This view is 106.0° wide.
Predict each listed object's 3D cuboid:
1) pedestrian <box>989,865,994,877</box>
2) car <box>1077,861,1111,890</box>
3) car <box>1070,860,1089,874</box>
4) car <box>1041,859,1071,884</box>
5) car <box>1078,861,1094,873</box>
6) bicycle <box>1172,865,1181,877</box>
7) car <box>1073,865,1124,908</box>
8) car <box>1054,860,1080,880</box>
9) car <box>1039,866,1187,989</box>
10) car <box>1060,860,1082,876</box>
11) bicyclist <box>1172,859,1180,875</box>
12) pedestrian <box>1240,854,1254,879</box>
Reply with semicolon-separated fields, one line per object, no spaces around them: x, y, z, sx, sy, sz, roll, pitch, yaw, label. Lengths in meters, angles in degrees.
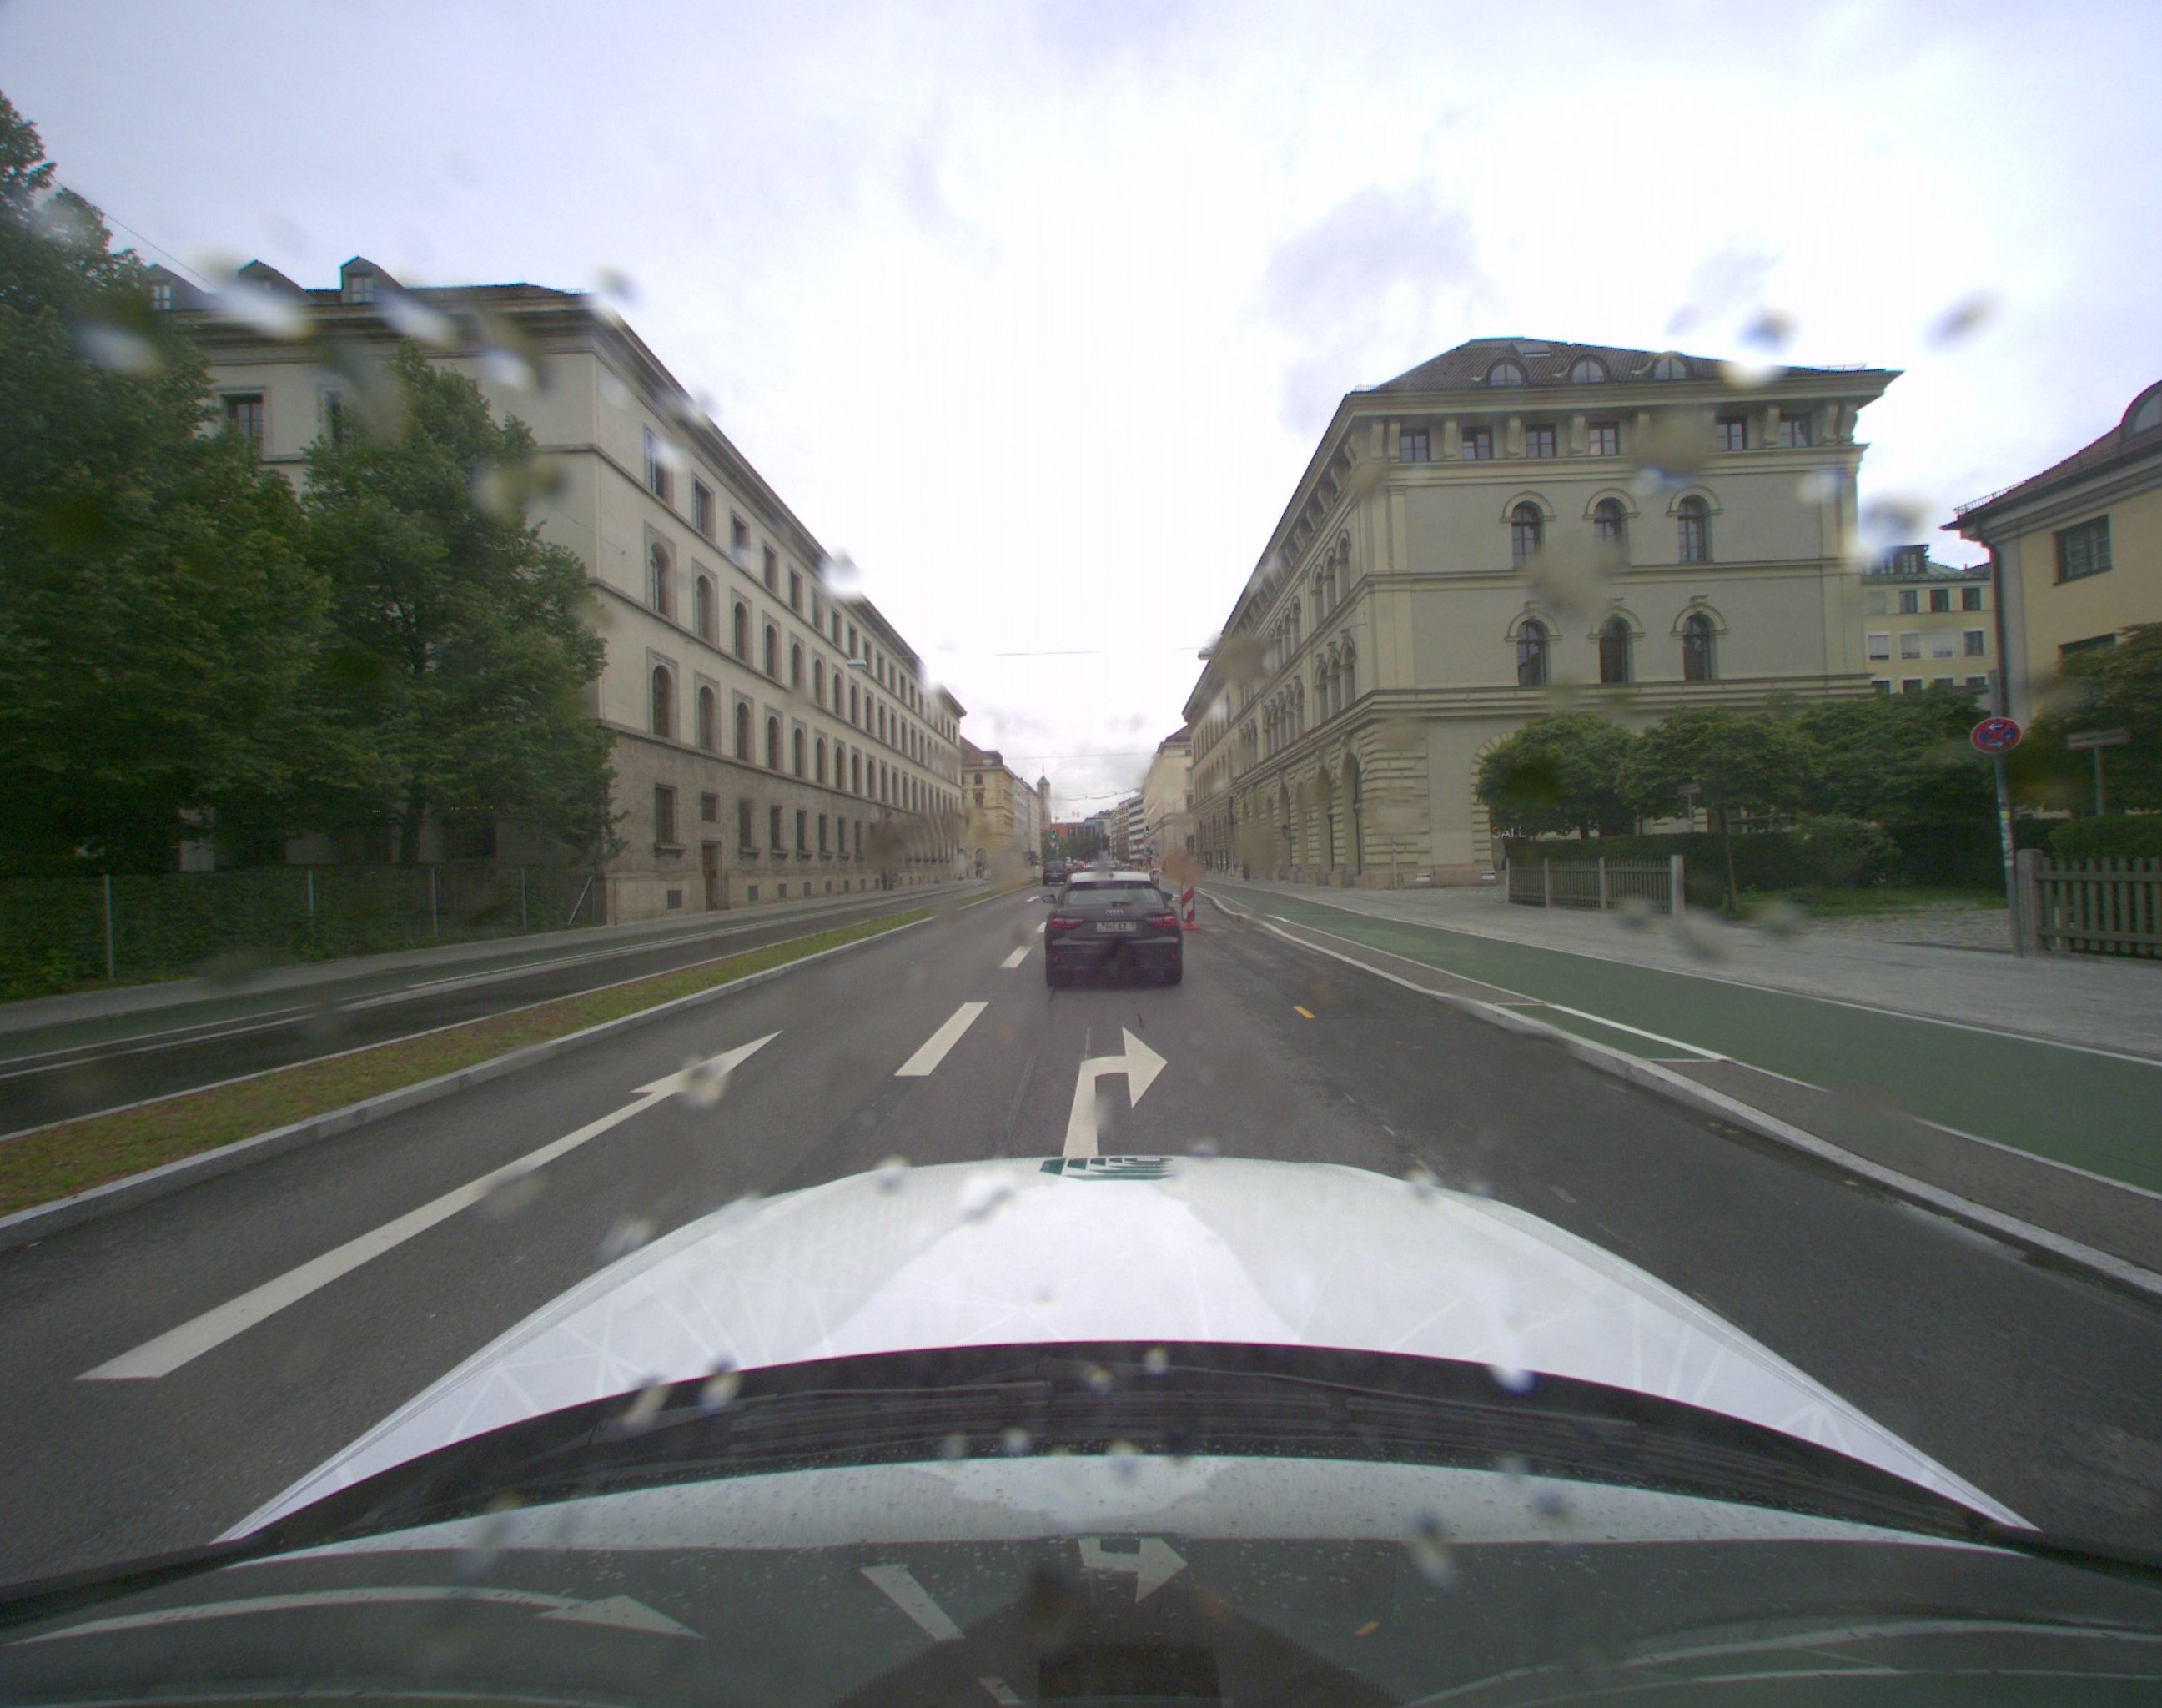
-13.369;2.501;121.321;0.653;1.805;0.727;-2;-1;1;pedestrian
0.722;1.120;43.150;1.724;1.461;4.001;0;0;1;car
-0.123;1.474;93.064;1.986;1.444;4.002;-2;-1;2;car
-1.686;1.183;56.072;1.758;1.616;4.031;-1;-1;1;car
0.694;1.692;105.696;1.986;1.444;4.002;-2;-1;2;car
9.467;1.720;80.896;0.725;1.156;2.174;-2;-1;4;bicycle
0.638;1.122;29.612;1.724;1.403;4.001;0;0;1;car
-1.159;1.315;68.615;1.986;1.627;4.002;-2;-1;2;car
0.429;0.891;11.538;1.724;1.403;4.001;0;0;1;car
-0.947;1.394;80.854;1.986;1.444;4.002;-2;-1;2;car
9.459;1.276;81.006;0.707;1.500;0.755;-2;-1;3;bicyclist
10.957;0.843;53.706;0.707;1.618;0.754;-2;-1;1;pedestrian
